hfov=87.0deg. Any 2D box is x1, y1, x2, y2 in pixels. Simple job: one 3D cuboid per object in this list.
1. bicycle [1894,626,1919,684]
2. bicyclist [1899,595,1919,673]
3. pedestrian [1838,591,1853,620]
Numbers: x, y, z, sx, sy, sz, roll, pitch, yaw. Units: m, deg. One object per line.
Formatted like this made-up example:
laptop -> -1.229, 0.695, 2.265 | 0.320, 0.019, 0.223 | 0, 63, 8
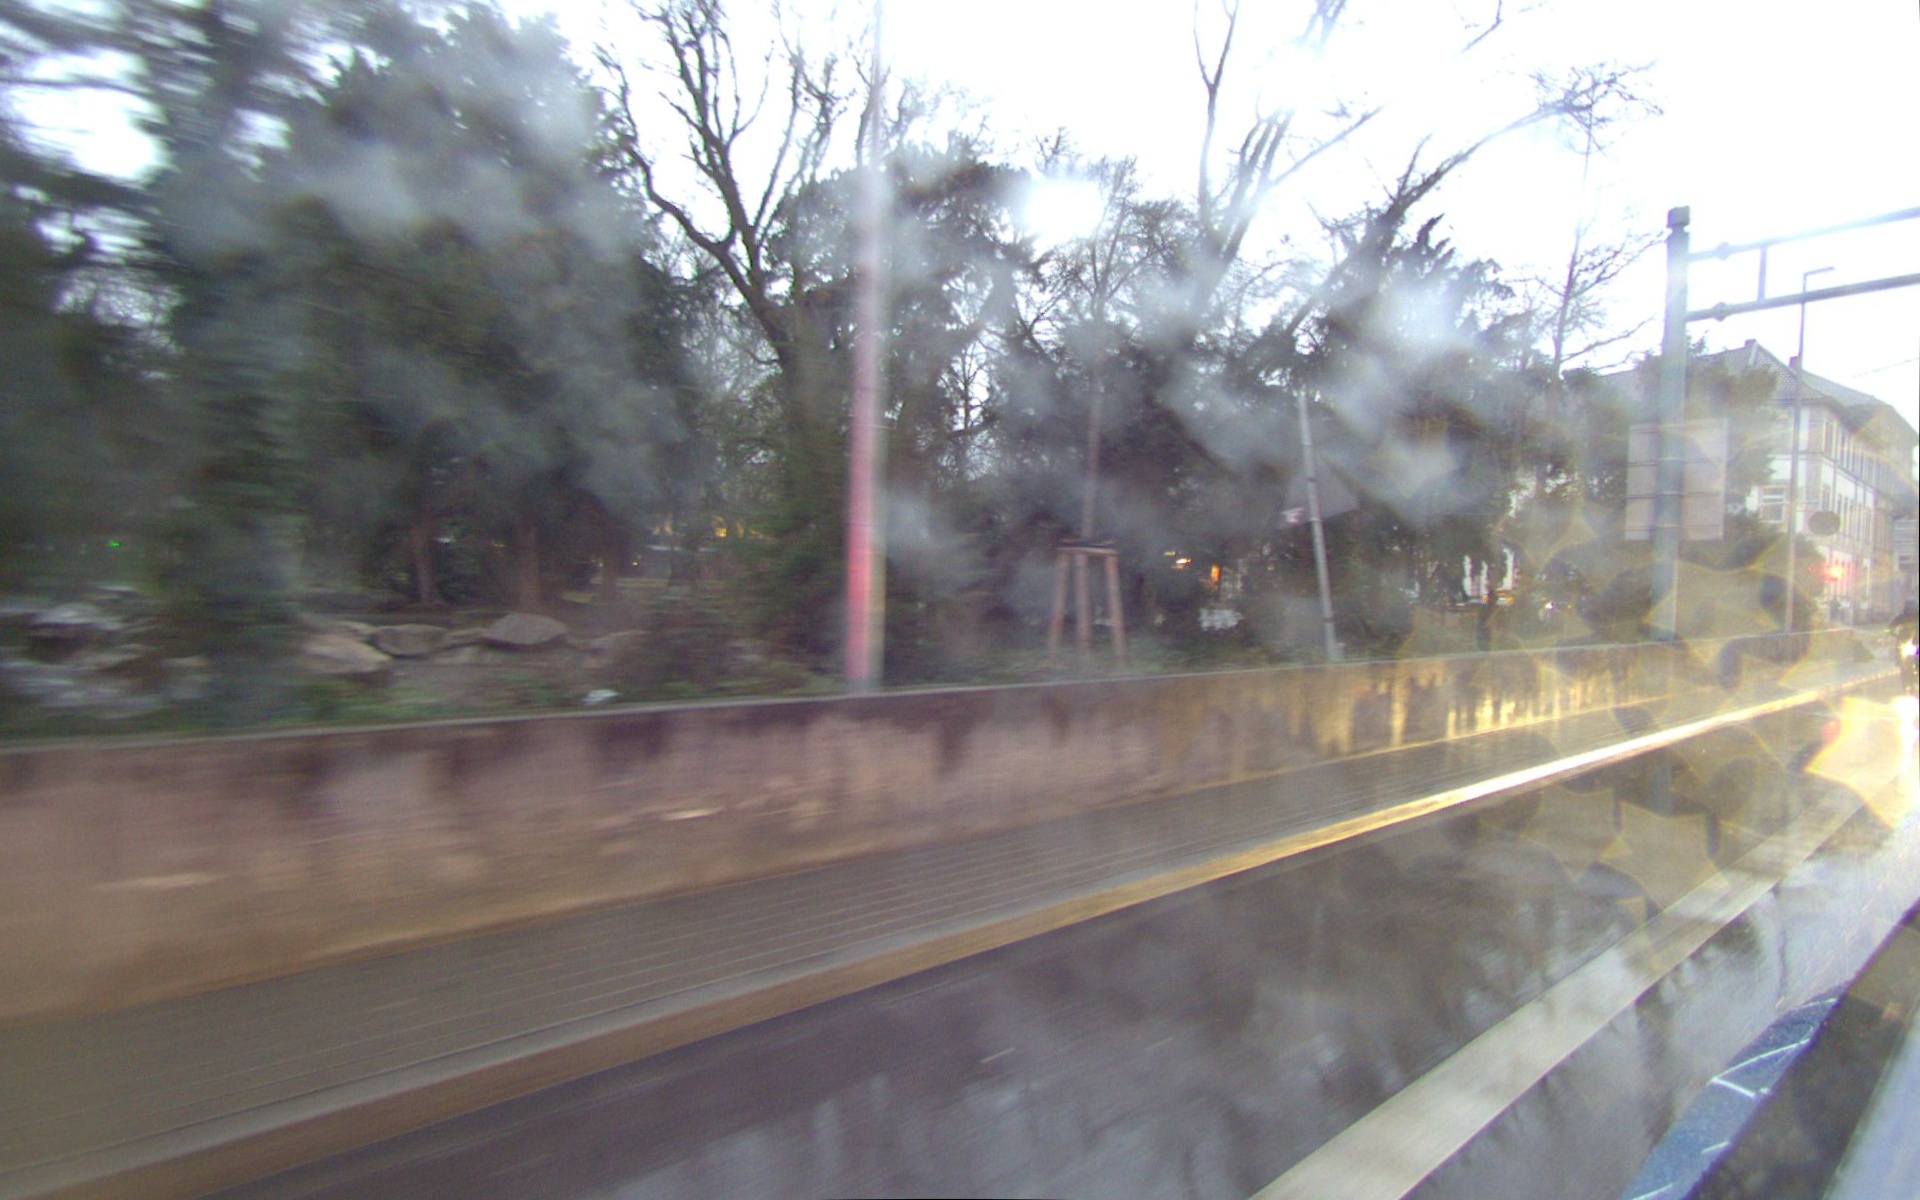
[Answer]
bicycle -> 17.784, 0.997, 18.626 | 2.011, 0.978, 0.646 | 0, 2, -41
bicyclist -> 17.779, 0.619, 18.606 | 0.875, 1.406, 0.646 | 1, 1, -41
pedestrian -> 48.150, 0.290, 55.024 | 0.577, 1.529, 0.520 | 1, 1, -41
